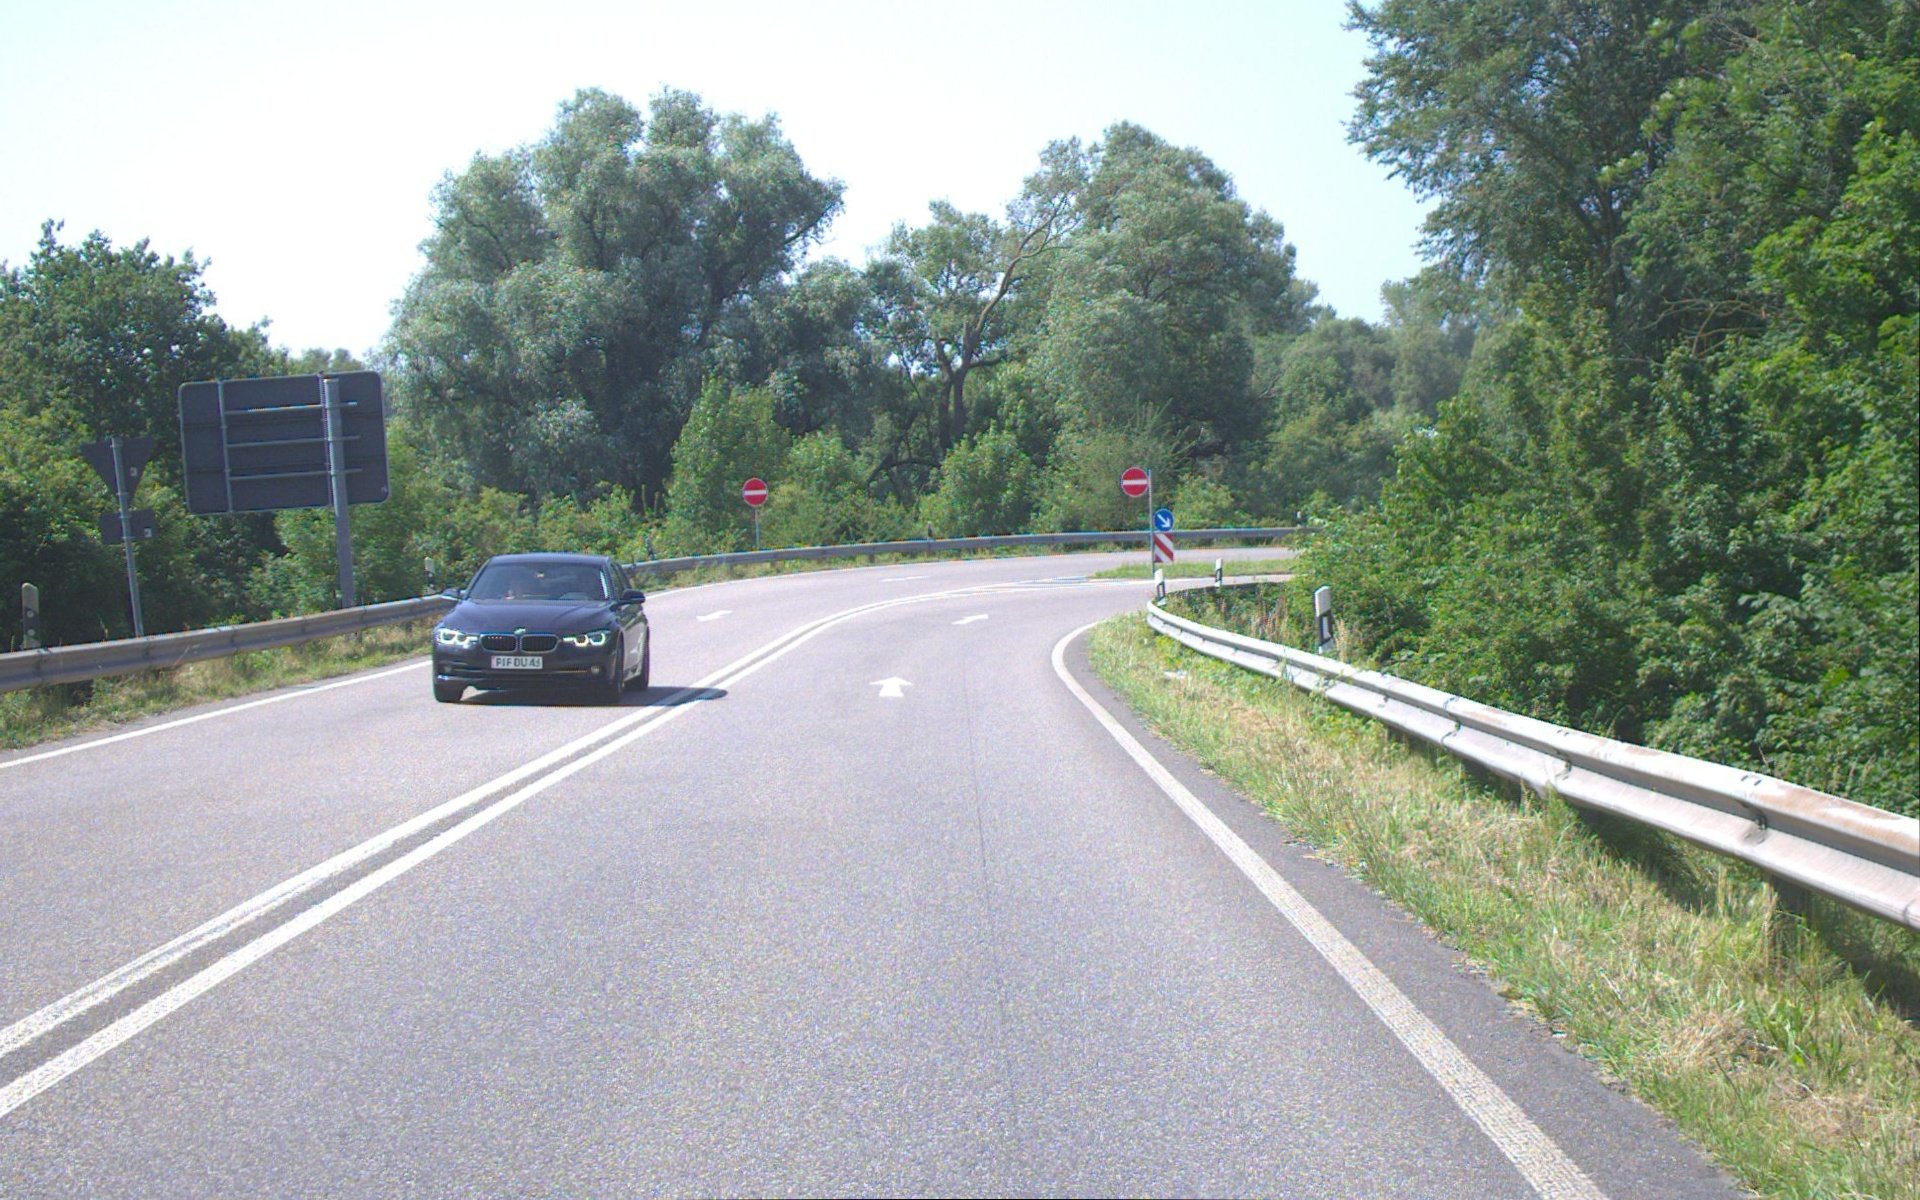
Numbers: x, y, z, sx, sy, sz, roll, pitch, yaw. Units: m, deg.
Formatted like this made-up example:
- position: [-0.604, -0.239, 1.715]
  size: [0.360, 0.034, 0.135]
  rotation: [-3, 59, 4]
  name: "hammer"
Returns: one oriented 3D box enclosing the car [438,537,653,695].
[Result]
- position: [-4.091, 0.119, 34.481]
  size: [1.607, 1.468, 4.220]
  rotation: [-1, 1, 0]
  name: "car"
